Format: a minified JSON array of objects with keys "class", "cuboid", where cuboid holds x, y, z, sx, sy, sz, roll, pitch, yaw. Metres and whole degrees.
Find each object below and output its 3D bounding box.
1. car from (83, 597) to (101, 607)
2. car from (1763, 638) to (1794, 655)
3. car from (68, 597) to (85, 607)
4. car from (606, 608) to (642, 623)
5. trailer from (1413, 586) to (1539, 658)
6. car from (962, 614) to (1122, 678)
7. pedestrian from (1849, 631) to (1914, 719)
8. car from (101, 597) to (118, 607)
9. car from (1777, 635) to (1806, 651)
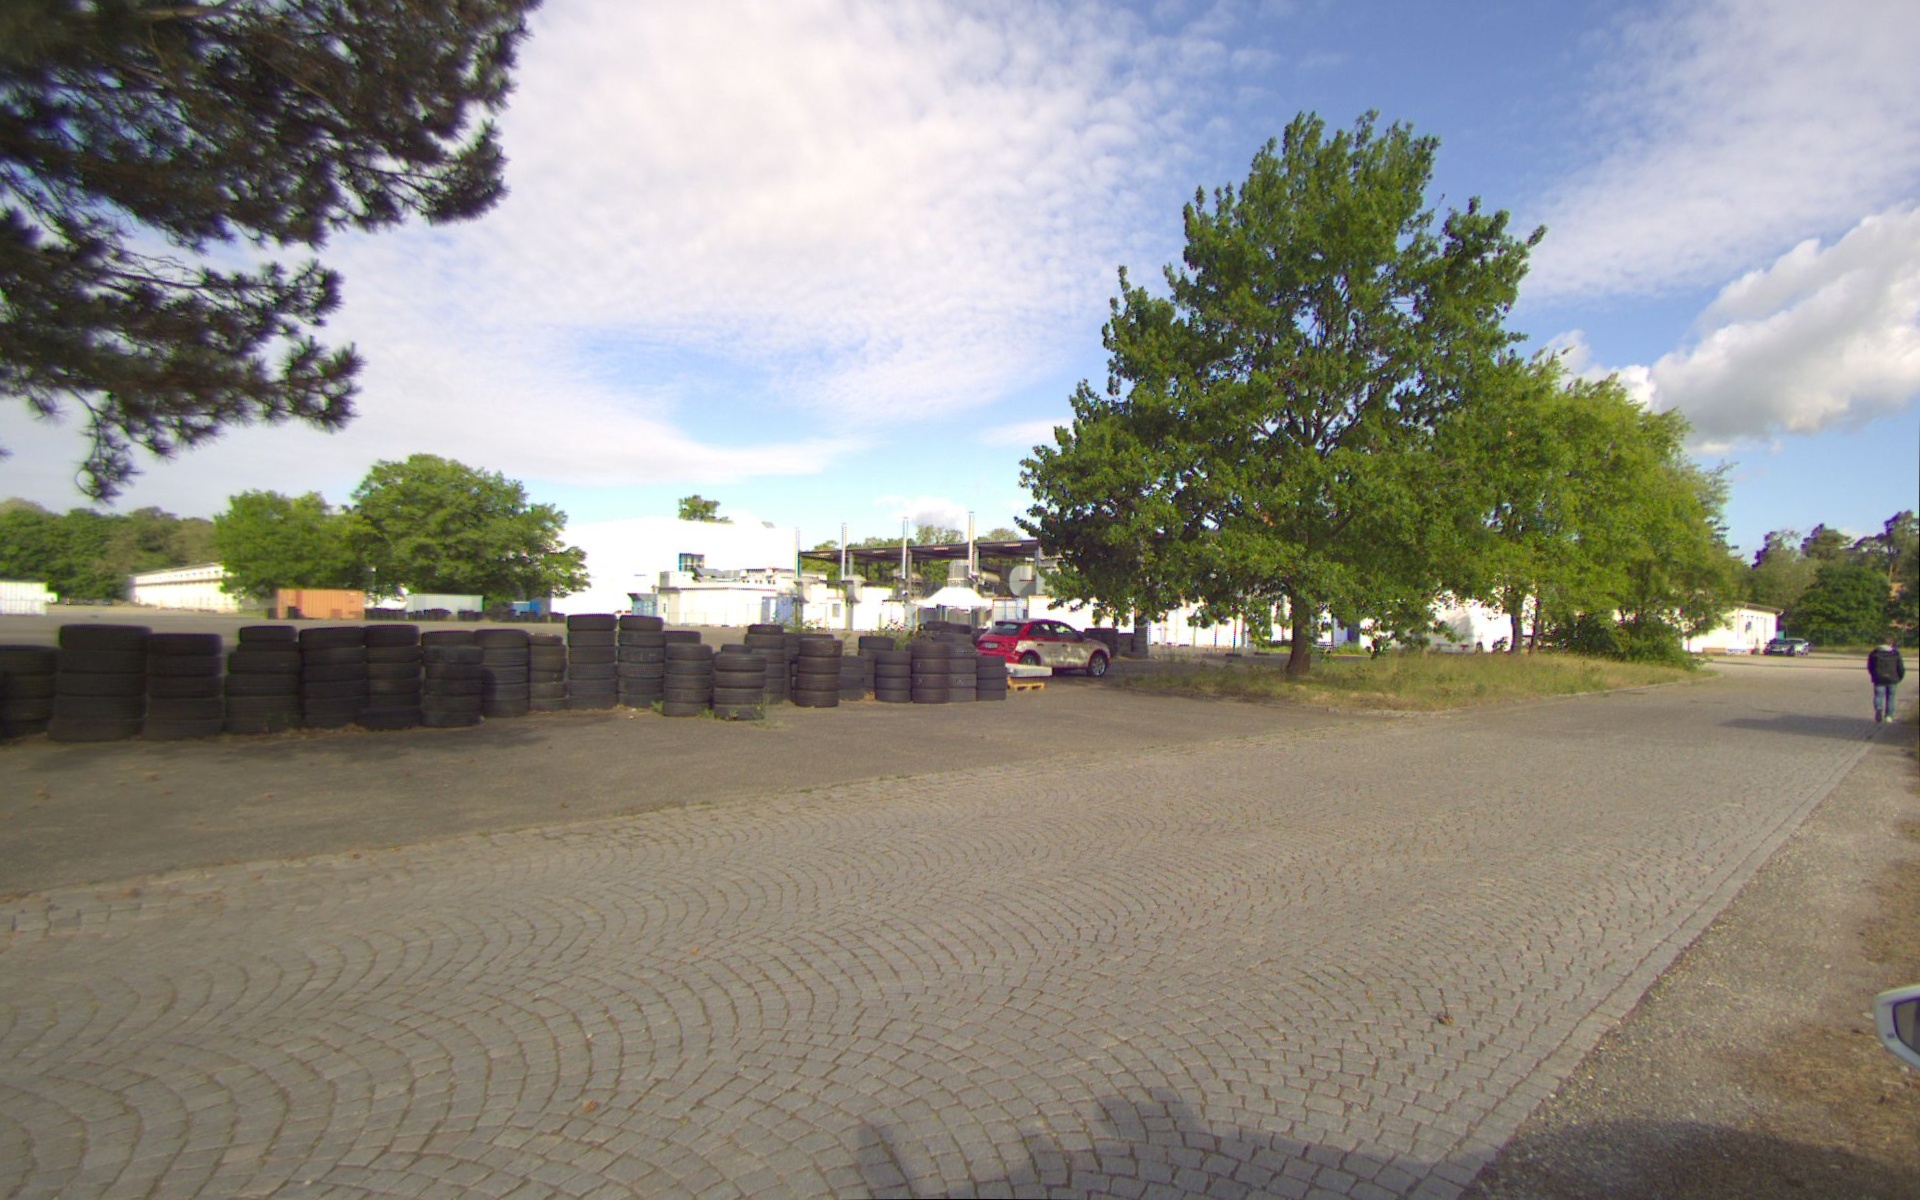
[{"class":"car","cuboid":[-163.458,0.362,189.186,3.943,1.832,2.027,1,-1,43]},{"class":"car","cuboid":[69.120,3.901,84.904,1.969,1.389,3.983,1,-1,39]},{"class":"car","cuboid":[-164.912,0.327,187.438,3.943,1.773,1.989,0,-1,43]},{"class":"car","cuboid":[-37.547,1.710,112.118,4.484,1.585,1.864,1,-1,44]},{"class":"trailer","cuboid":[27.739,1.238,53.733,9.832,3.517,2.889,2,-1,-43]},{"class":"car","cuboid":[2.148,1.157,25.715,3.965,1.483,1.709,2,-1,-38]},{"class":"pedestrian","cuboid":[17.356,1.386,18.940,0.855,1.579,1.023,1,-1,42]},{"class":"car","cuboid":[-161.686,0.339,190.997,3.943,1.773,1.989,0,-1,43]},{"class":"car","cuboid":[76.267,3.943,92.213,1.969,1.394,3.983,1,-1,39]}]
